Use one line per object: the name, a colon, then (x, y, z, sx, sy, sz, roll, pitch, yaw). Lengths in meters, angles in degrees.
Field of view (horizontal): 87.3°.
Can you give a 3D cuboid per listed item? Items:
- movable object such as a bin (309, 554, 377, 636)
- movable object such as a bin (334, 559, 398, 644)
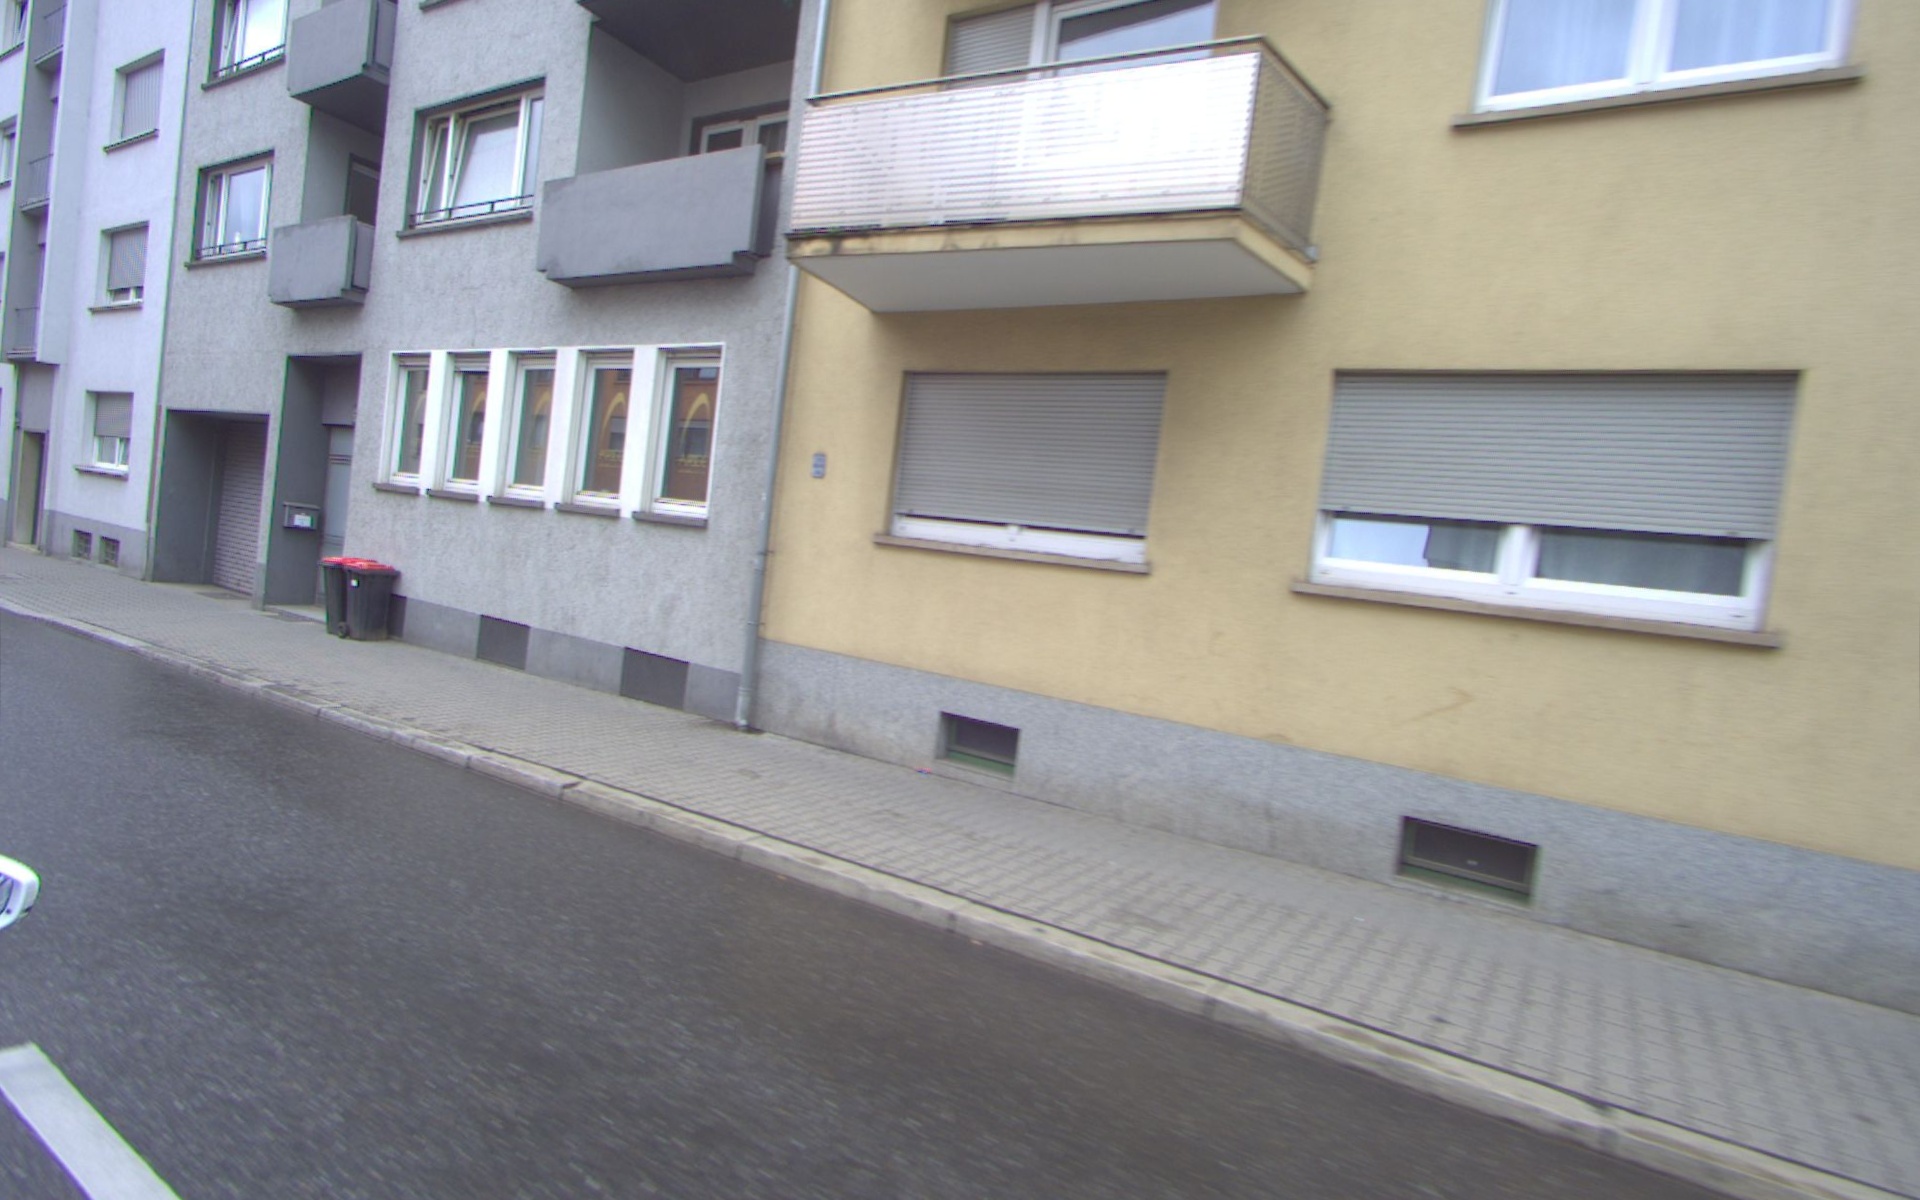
movable object such as a bin: (-7.772, -0.068, 12.675, 0.467, 0.976, 0.561, 8, 5, 35)
movable object such as a bin: (-7.306, 0.011, 12.372, 0.555, 0.976, 0.472, 8, 5, 34)
